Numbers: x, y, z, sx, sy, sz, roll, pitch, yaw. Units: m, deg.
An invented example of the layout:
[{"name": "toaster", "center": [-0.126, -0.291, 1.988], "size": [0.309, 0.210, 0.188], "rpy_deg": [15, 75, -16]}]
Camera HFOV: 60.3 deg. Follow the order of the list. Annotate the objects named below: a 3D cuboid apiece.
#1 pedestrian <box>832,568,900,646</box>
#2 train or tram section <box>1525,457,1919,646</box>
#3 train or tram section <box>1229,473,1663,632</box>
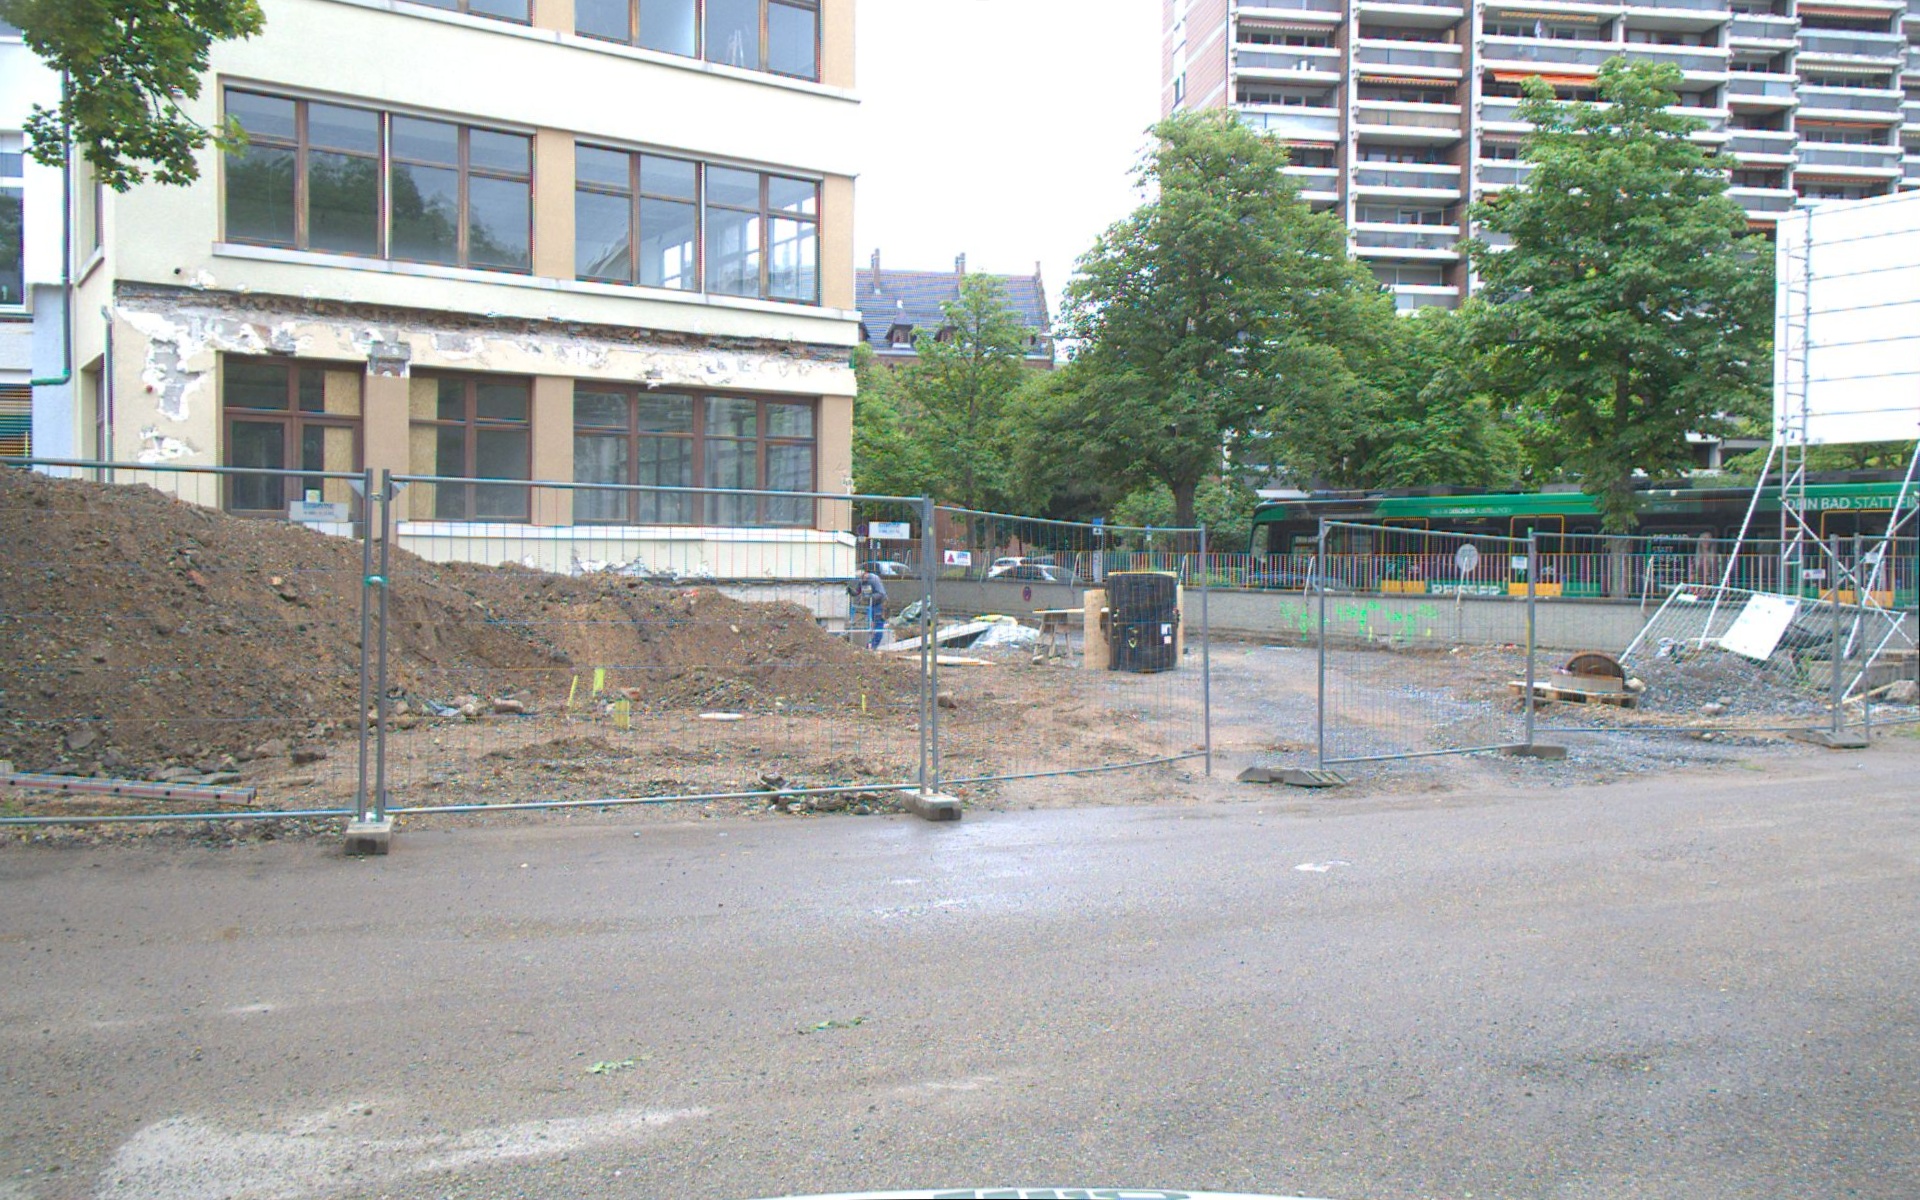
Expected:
[{"name": "pedestrian", "center": [-1.820, 0.126, 32.065], "size": [0.973, 1.463, 0.918], "rpy_deg": [0, 1, -38]}, {"name": "train or tram section", "center": [18.087, -1.020, 35.435], "size": [2.636, 3.677, 12.313], "rpy_deg": [0, 1, -33]}, {"name": "train or tram section", "center": [12.367, -1.223, 44.049], "size": [2.636, 3.677, 12.313], "rpy_deg": [0, 1, -33]}]
